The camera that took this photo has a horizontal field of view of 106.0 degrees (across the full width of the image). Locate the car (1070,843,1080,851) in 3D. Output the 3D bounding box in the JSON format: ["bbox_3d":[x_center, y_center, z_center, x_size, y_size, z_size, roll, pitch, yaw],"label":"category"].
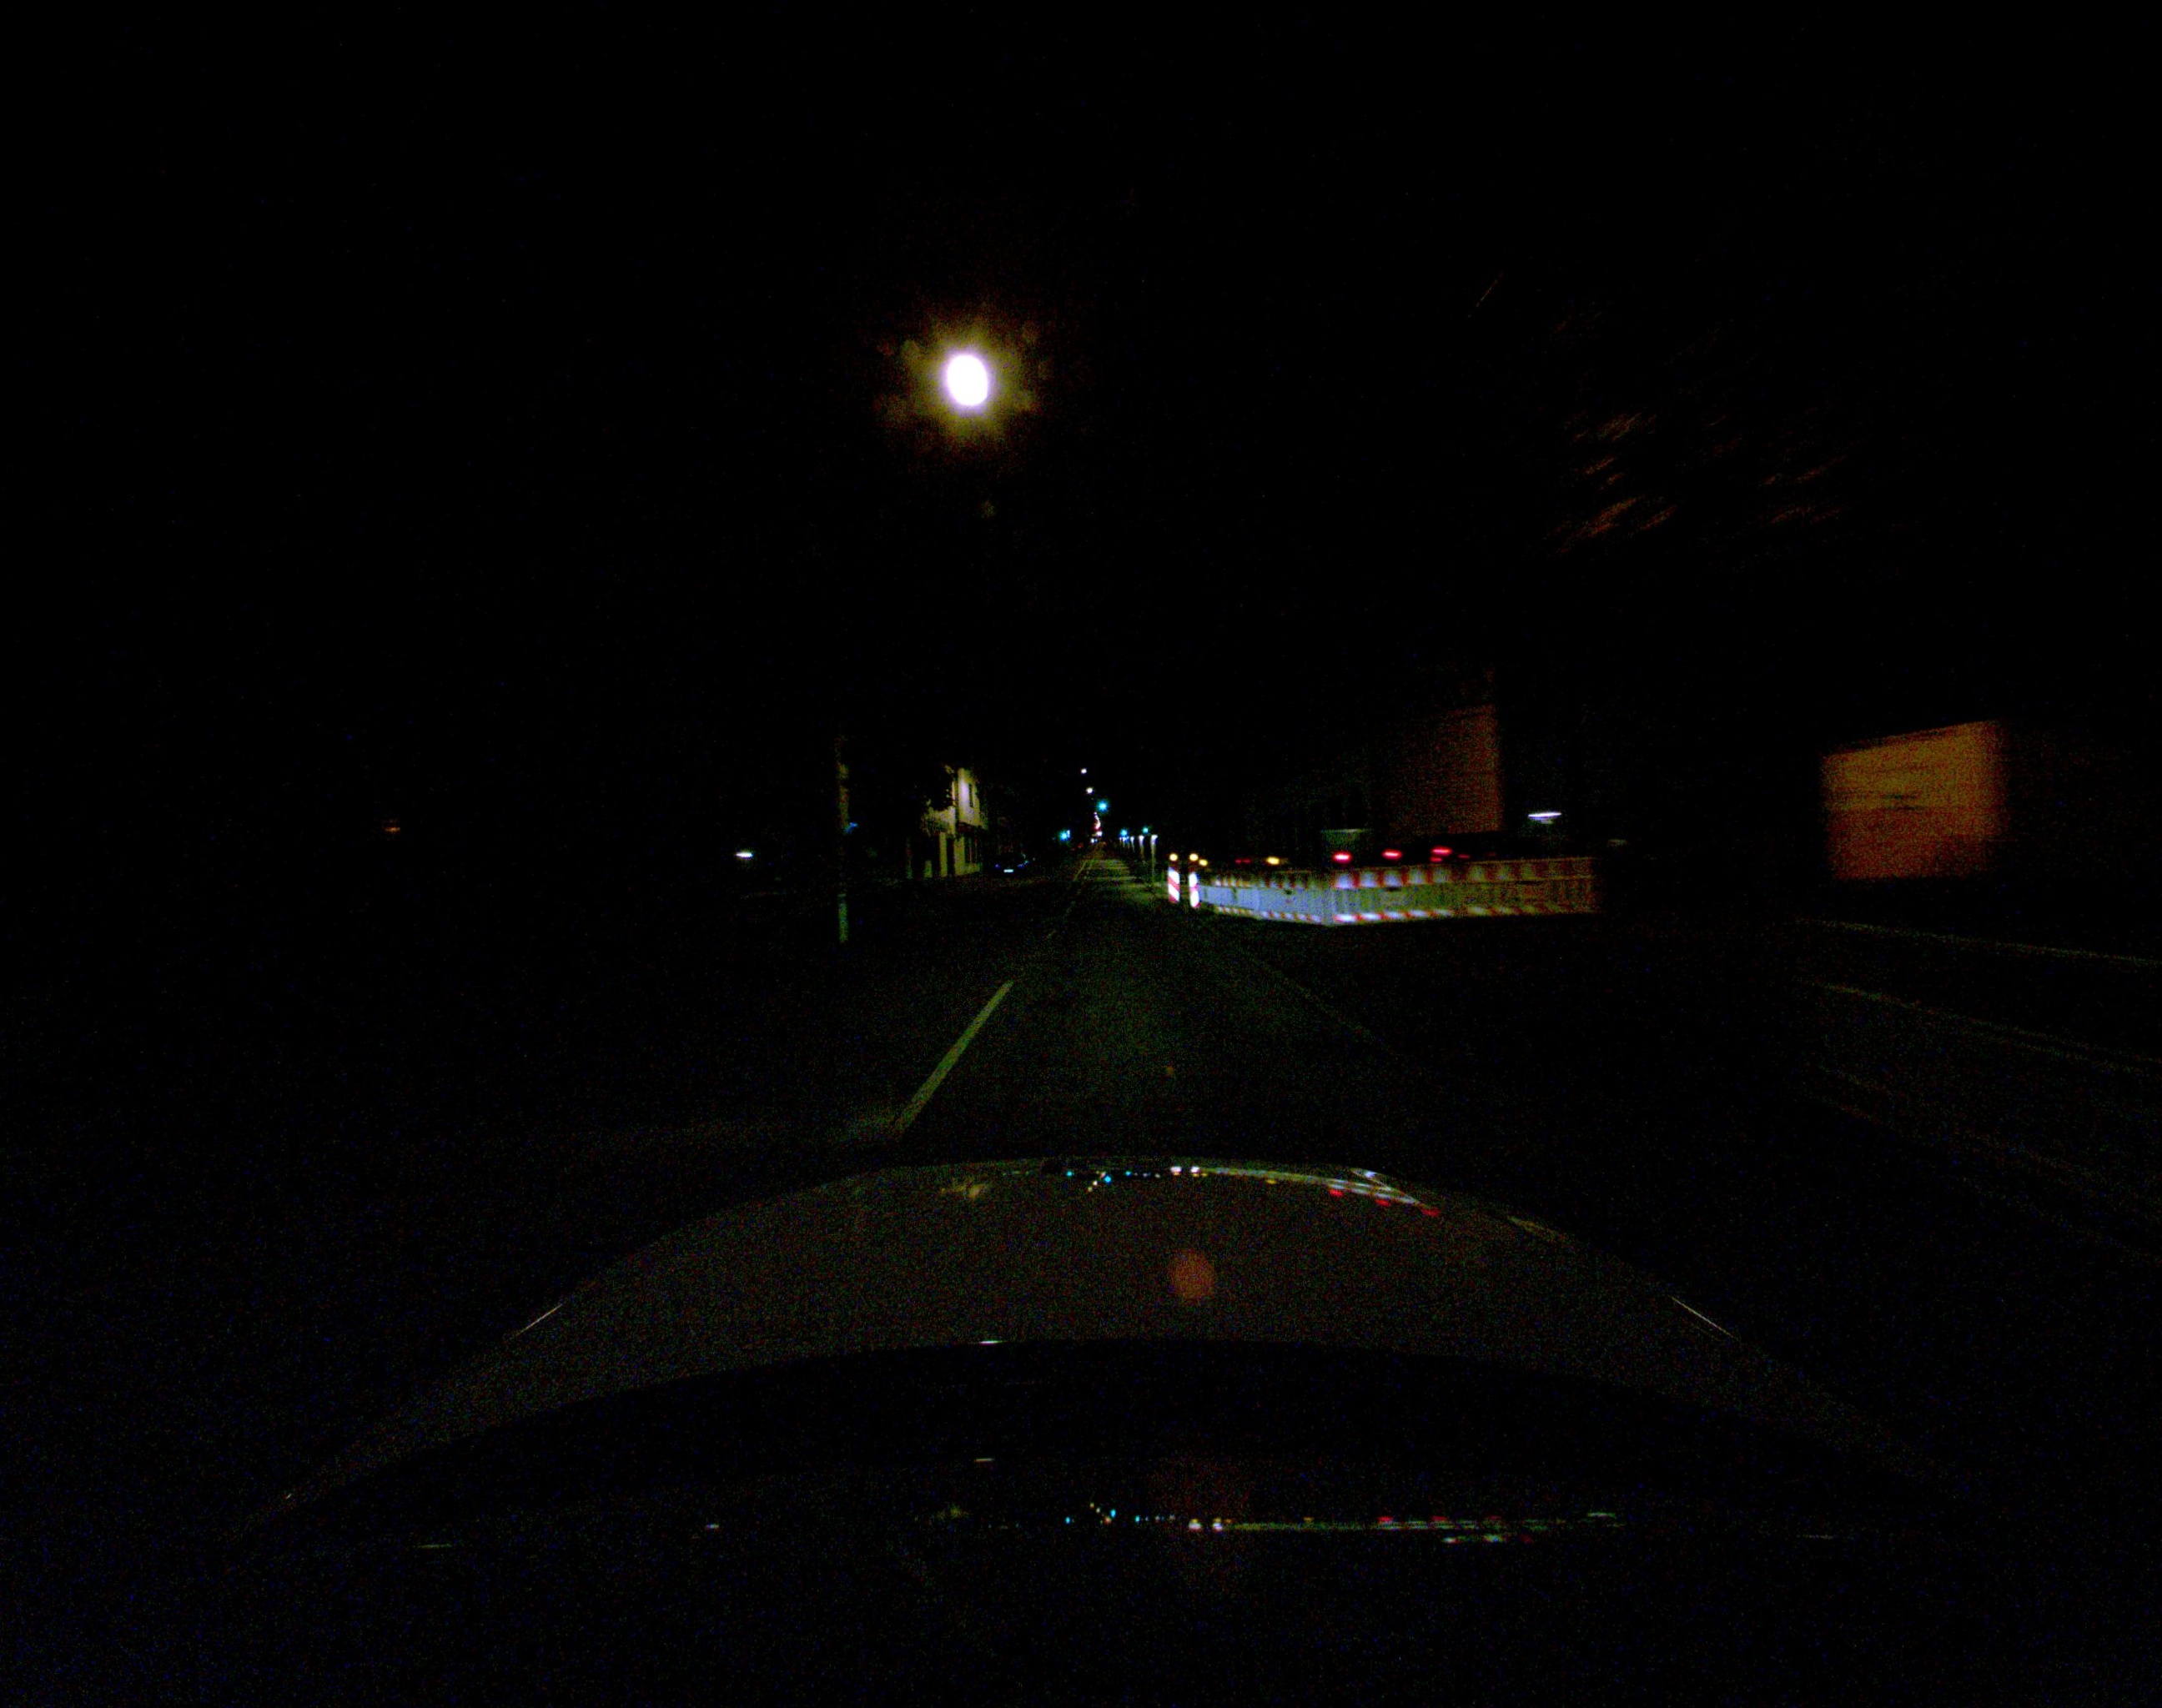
[{"bbox_3d":[-1.176,-1.389,157.929,1.866,1.544,4.206,-2,1,1],"label":"car"}]

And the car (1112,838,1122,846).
[{"bbox_3d":[7.521,-2.484,170.946,1.866,1.544,4.206,-2,1,1],"label":"car"}]

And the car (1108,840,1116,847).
[{"bbox_3d":[7.966,-2.688,209.907,1.866,1.544,4.206,-2,1,1],"label":"car"}]

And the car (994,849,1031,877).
[{"bbox_3d":[-4.030,0.502,48.597,1.665,1.443,4.206,-2,1,1],"label":"car"}]

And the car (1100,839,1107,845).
[{"bbox_3d":[6.647,-3.450,236.266,1.866,1.814,4.207,-2,1,2],"label":"car"}]

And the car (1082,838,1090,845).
[{"bbox_3d":[1.567,-3.789,248.523,2.069,1.814,4.207,-2,1,2],"label":"car"}]

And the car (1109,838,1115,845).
[{"bbox_3d":[9.846,-4.000,258.454,1.866,1.907,4.206,-2,1,1],"label":"car"}]

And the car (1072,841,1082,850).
[{"bbox_3d":[-0.858,-1.695,164.052,1.866,1.814,4.206,-2,1,1],"label":"car"}]

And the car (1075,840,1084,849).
[{"bbox_3d":[-0.284,-2.093,182.349,1.866,1.814,4.206,-3,1,1],"label":"car"}]

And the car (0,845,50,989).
[{"bbox_3d":[-22.056,1.187,13.942,5.826,2.544,2.246,-2,-3,0],"label":"car"}]

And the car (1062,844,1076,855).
[{"bbox_3d":[-1.807,-0.636,120.665,1.866,1.544,4.206,-2,1,1],"label":"car"}]
